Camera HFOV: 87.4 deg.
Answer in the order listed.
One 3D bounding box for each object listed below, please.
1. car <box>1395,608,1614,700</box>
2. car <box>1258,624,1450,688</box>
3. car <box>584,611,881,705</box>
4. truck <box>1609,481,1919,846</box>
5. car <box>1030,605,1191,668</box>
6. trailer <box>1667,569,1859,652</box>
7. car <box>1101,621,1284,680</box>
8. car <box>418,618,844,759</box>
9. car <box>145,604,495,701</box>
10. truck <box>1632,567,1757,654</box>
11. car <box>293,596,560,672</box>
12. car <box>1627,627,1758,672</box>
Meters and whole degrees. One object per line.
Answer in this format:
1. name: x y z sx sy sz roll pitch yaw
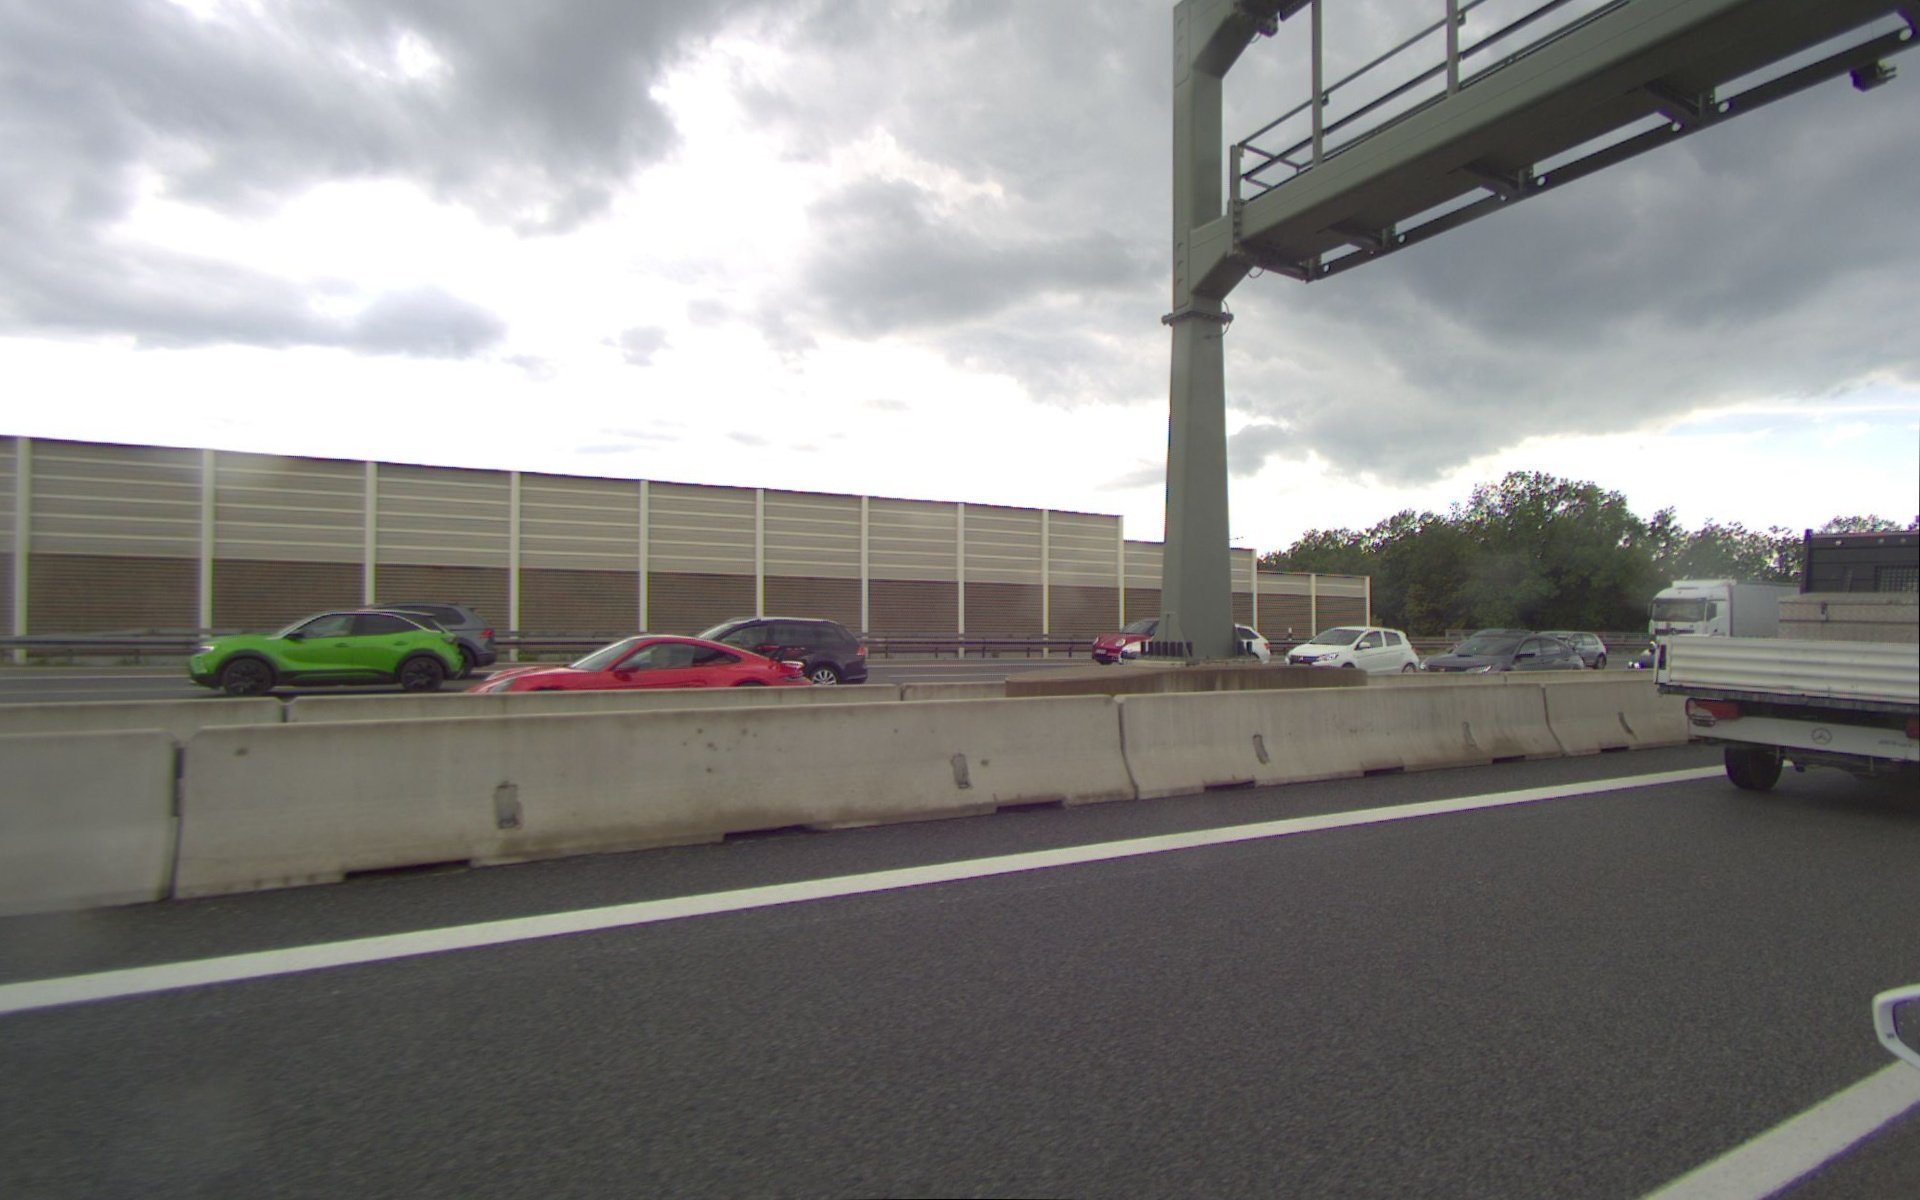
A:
1. car: 12.369 1.182 22.753 4.937 1.905 2.051 2 -1 -29
2. car: 10.353 1.428 26.333 4.937 1.511 2.051 2 -1 -29
3. car: -4.110 1.011 18.361 4.937 1.511 2.051 2 -1 -29
4. truck: 9.098 0.475 9.362 7.067 2.472 2.295 1 0 -32
5. car: 4.880 1.171 32.403 4.937 1.905 2.051 2 -1 -29
6. trailer: 43.170 0.644 53.726 14.279 4.085 2.918 1 0 -30
7. car: 6.571 1.389 28.248 4.937 1.511 2.051 2 -1 -29
8. car: -4.180 1.033 12.974 4.937 1.511 2.051 2 -1 -29
9. car: -11.047 0.888 17.812 4.937 1.511 2.051 2 -1 -29
10. truck: 36.556 0.560 49.961 5.657 4.088 2.959 1 -1 -29
11. car: -11.570 0.746 22.075 4.937 1.511 2.051 2 -1 -29
12. car: 25.564 1.702 35.040 4.468 1.434 2.051 2 -1 -29
